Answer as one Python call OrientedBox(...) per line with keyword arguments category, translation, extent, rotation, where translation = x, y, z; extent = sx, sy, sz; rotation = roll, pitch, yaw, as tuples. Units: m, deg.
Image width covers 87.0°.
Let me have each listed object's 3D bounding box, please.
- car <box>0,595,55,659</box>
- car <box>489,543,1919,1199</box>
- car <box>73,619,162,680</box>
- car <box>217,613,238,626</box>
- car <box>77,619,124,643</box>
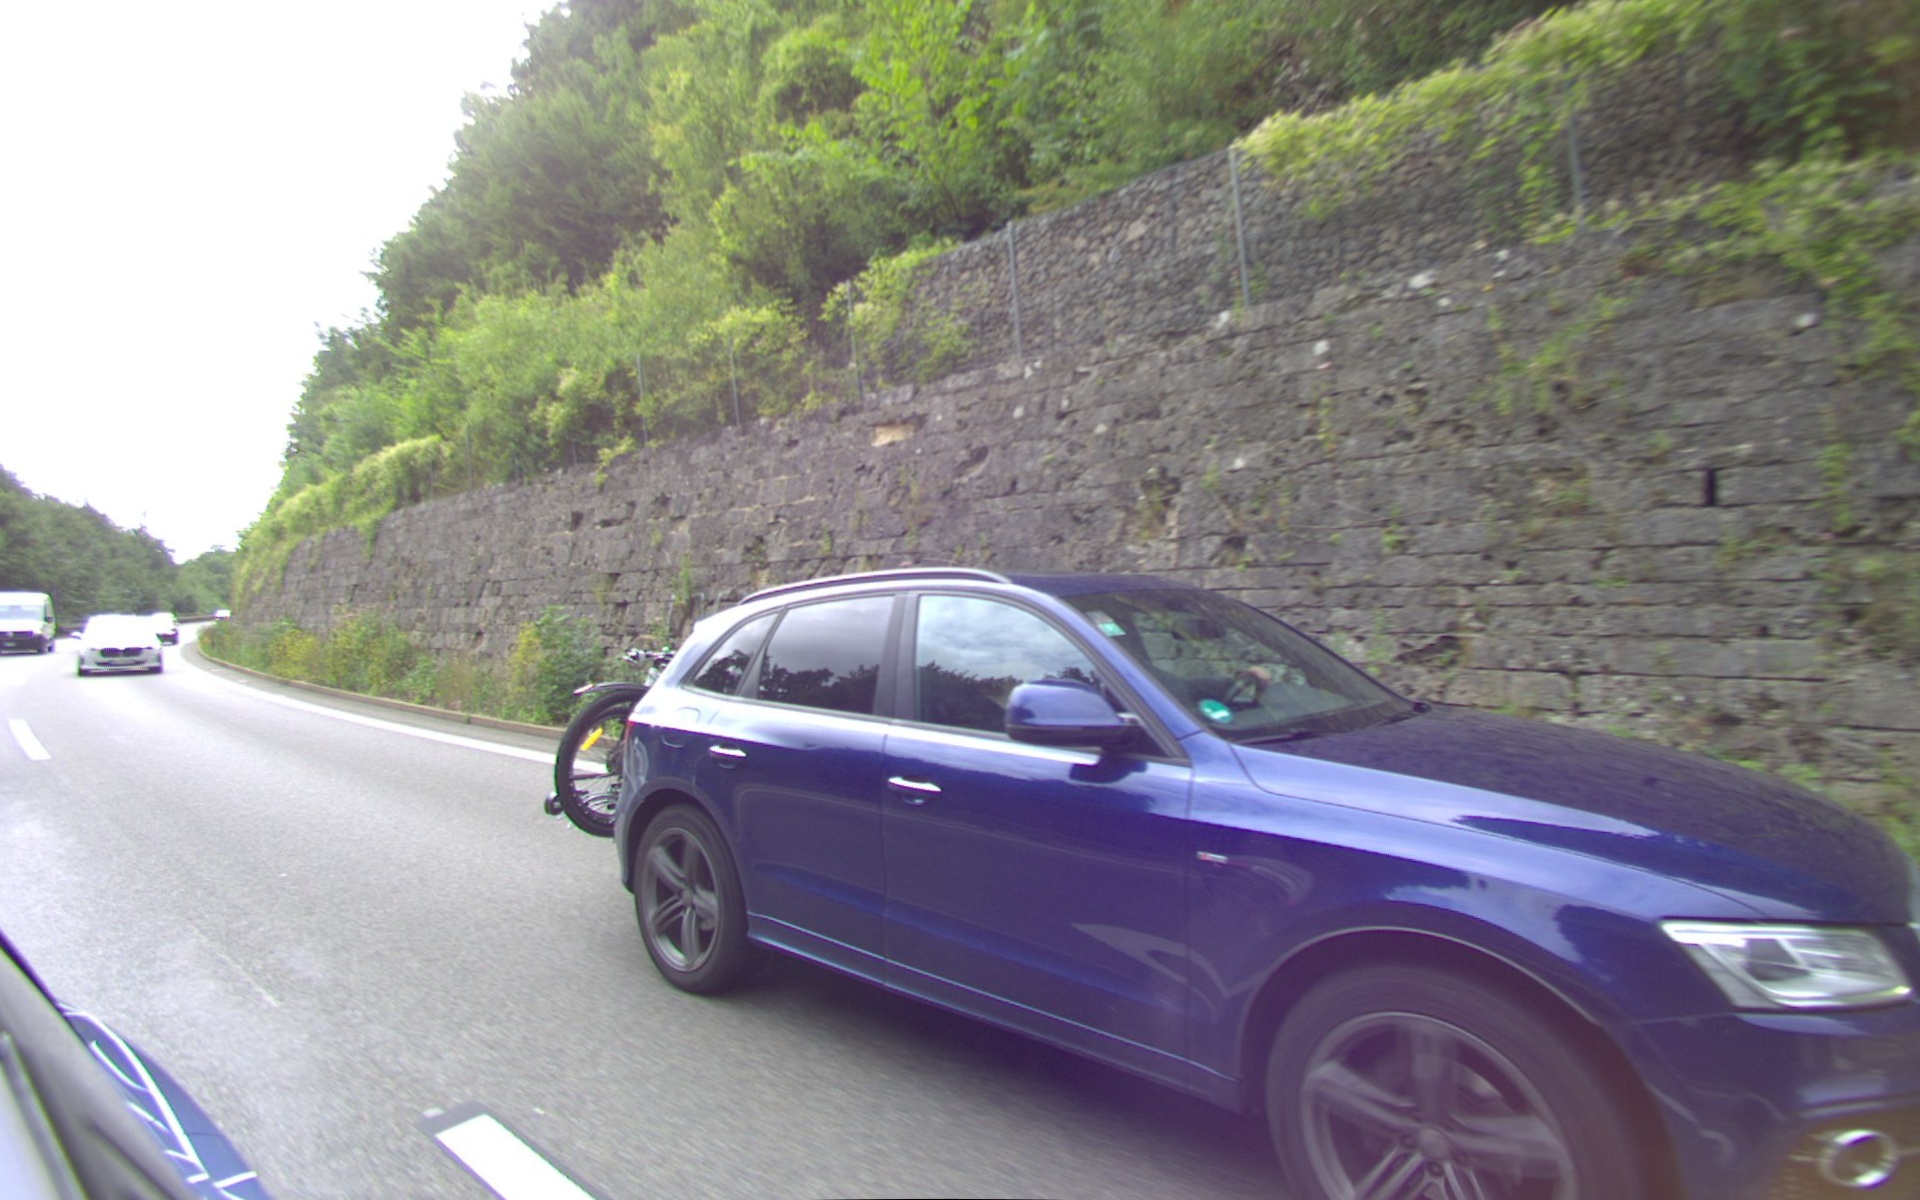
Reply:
OrientedBox(category="car", translation=(-40.017, 1.172, 42.882), extent=(2.066, 2.582, 5.931), rotation=(0, -2, -38))
OrientedBox(category="car", translation=(0.443, 0.688, 3.785), extent=(5.585, 1.605, 1.950), rotation=(0, 2, 42))
OrientedBox(category="car", translation=(-23.608, 1.357, 28.392), extent=(1.796, 1.567, 4.006), rotation=(0, -2, -40))
OrientedBox(category="car", translation=(-96.413, 2.588, 133.228), extent=(1.793, 1.567, 4.012), rotation=(0, -2, -29))
OrientedBox(category="car", translation=(-59.074, 2.111, 69.602), extent=(1.793, 1.567, 4.012), rotation=(0, -2, -31))
